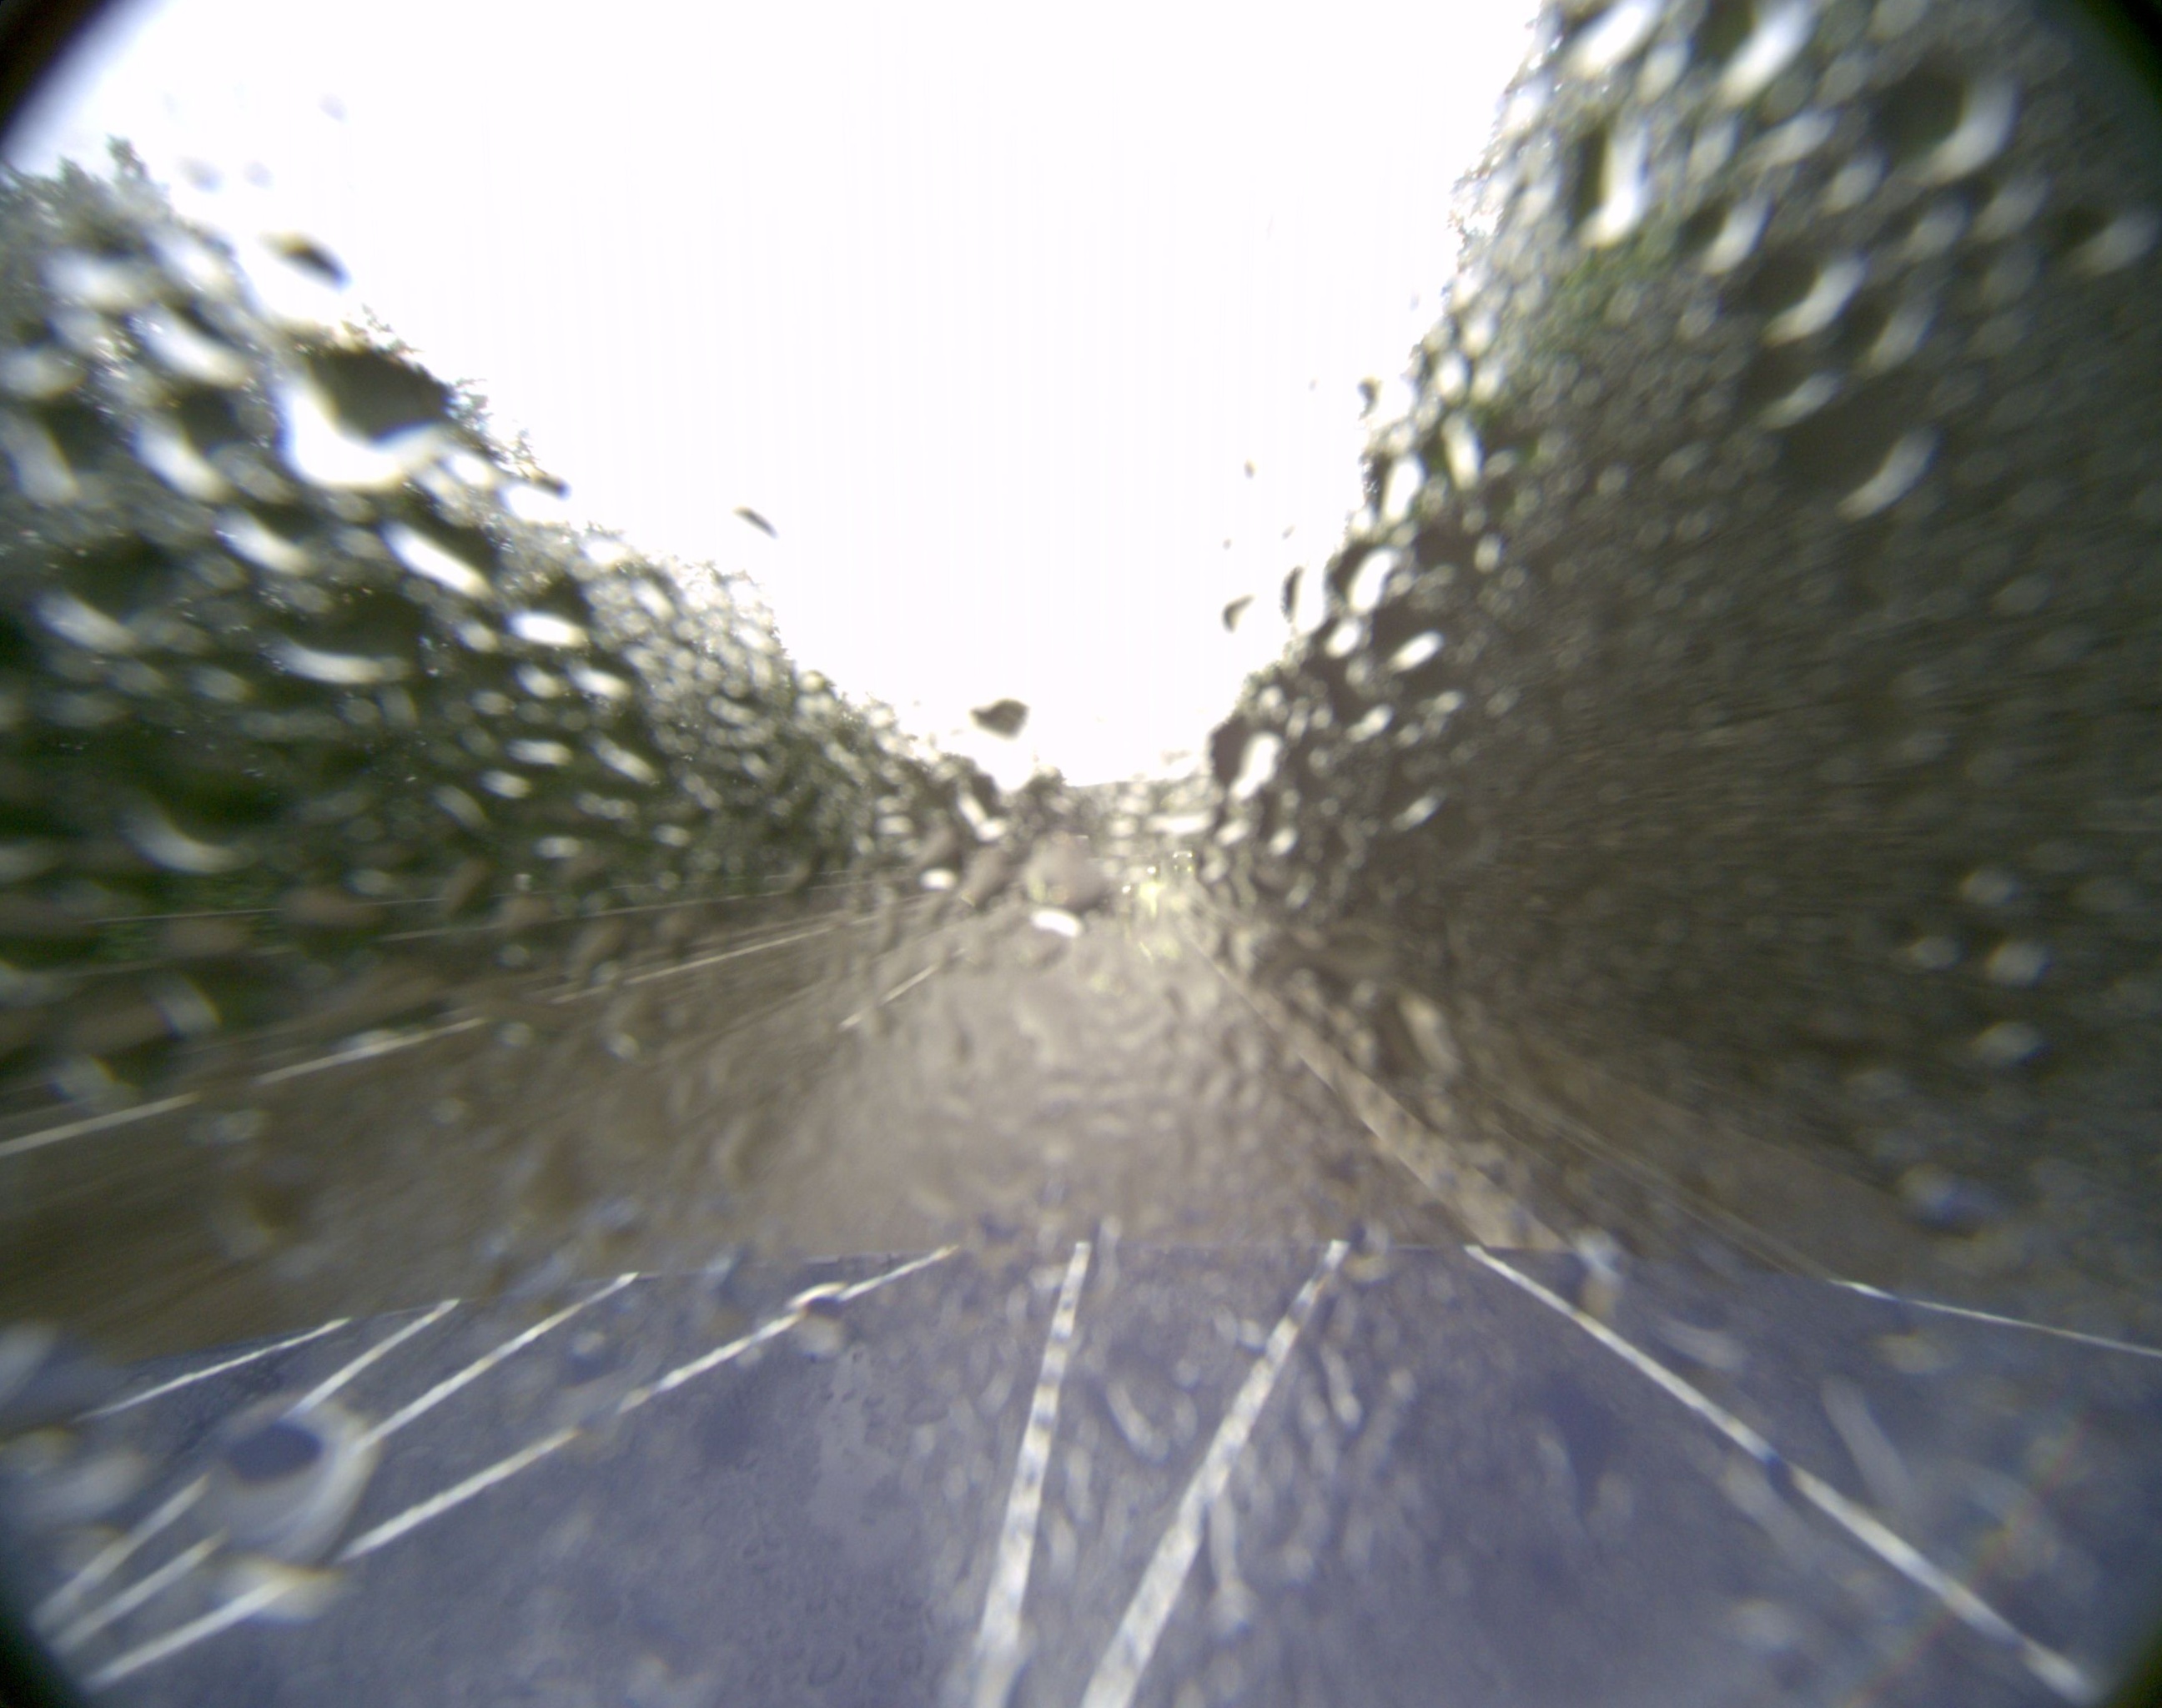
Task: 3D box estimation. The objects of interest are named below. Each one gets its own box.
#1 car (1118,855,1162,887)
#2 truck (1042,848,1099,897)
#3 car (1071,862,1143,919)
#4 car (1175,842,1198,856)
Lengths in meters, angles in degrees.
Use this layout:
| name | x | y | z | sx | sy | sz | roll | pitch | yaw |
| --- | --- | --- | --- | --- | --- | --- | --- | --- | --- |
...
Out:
| name | x | y | z | sx | sy | sz | roll | pitch | yaw |
| --- | --- | --- | --- | --- | --- | --- | --- | --- | --- |
| car | 3.046 | 0.804 | 38.489 | 1.826 | 1.375 | 4.002 | -4 | 0 | 8 |
| truck | -0.477 | 1.045 | 44.454 | 2.107 | 2.481 | 8.009 | 3 | -1 | 7 |
| car | 0.764 | 0.959 | 21.604 | 1.827 | 1.375 | 4.001 | -2 | 0 | 3 |
| car | 11.296 | -0.551 | 81.162 | 1.825 | 1.375 | 4.004 | -4 | 0 | 15 |
